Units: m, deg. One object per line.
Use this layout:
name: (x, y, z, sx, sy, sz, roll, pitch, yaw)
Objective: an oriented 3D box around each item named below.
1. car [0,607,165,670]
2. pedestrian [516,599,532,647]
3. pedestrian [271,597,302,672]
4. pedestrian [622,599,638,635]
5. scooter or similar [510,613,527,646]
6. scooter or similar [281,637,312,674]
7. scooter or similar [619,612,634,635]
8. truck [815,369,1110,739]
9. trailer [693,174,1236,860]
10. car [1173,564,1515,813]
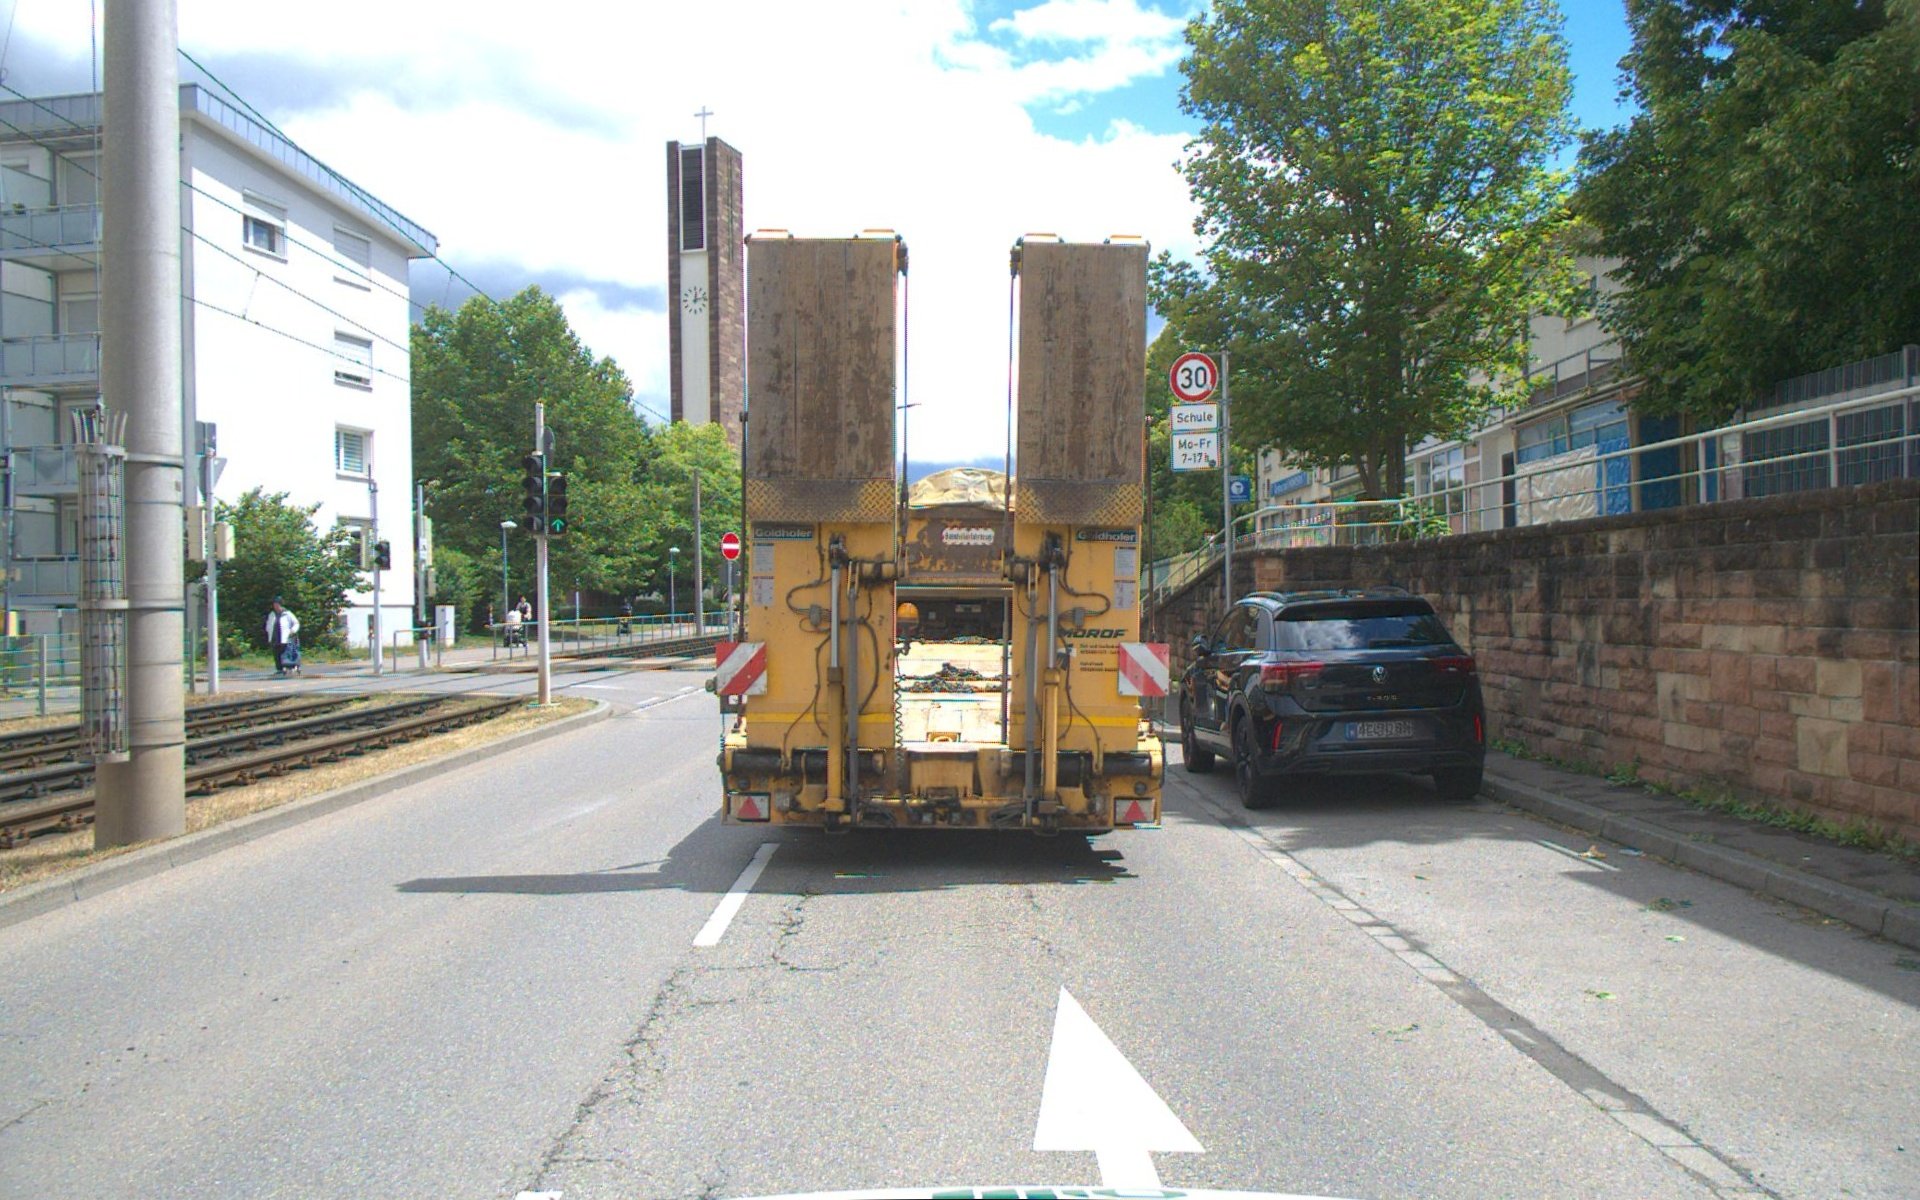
car: (-20.596, 0.870, 37.832, 3.902, 1.369, 1.902, -1, 0, 7)
pedestrian: (-14.370, 0.744, 54.568, 0.341, 1.564, 0.557, -1, 0, 3)
pedestrian: (-14.440, 0.737, 35.473, 0.428, 1.608, 0.475, -1, 0, 4)
pedestrian: (-14.233, 0.736, 71.385, 0.552, 1.540, 0.645, 1, 0, -2)
scooter or similar: (-14.388, 0.965, 53.937, 0.331, 1.076, 0.688, -1, 0, 3)
scooter or similar: (-14.077, 1.182, 35.096, 0.428, 0.760, 0.475, -1, 0, 4)
scooter or similar: (-14.254, 1.004, 70.728, 0.495, 0.988, 0.645, 1, 0, -2)
truck: (0.030, -0.464, 18.813, 2.882, 3.635, 4.876, -1, 0, 0)
trailer: (0.033, -0.457, 13.234, 2.885, 3.664, 8.683, -1, 0, 0)
car: (2.922, 0.614, 13.482, 1.813, 1.668, 4.000, -2, 0, 0)
